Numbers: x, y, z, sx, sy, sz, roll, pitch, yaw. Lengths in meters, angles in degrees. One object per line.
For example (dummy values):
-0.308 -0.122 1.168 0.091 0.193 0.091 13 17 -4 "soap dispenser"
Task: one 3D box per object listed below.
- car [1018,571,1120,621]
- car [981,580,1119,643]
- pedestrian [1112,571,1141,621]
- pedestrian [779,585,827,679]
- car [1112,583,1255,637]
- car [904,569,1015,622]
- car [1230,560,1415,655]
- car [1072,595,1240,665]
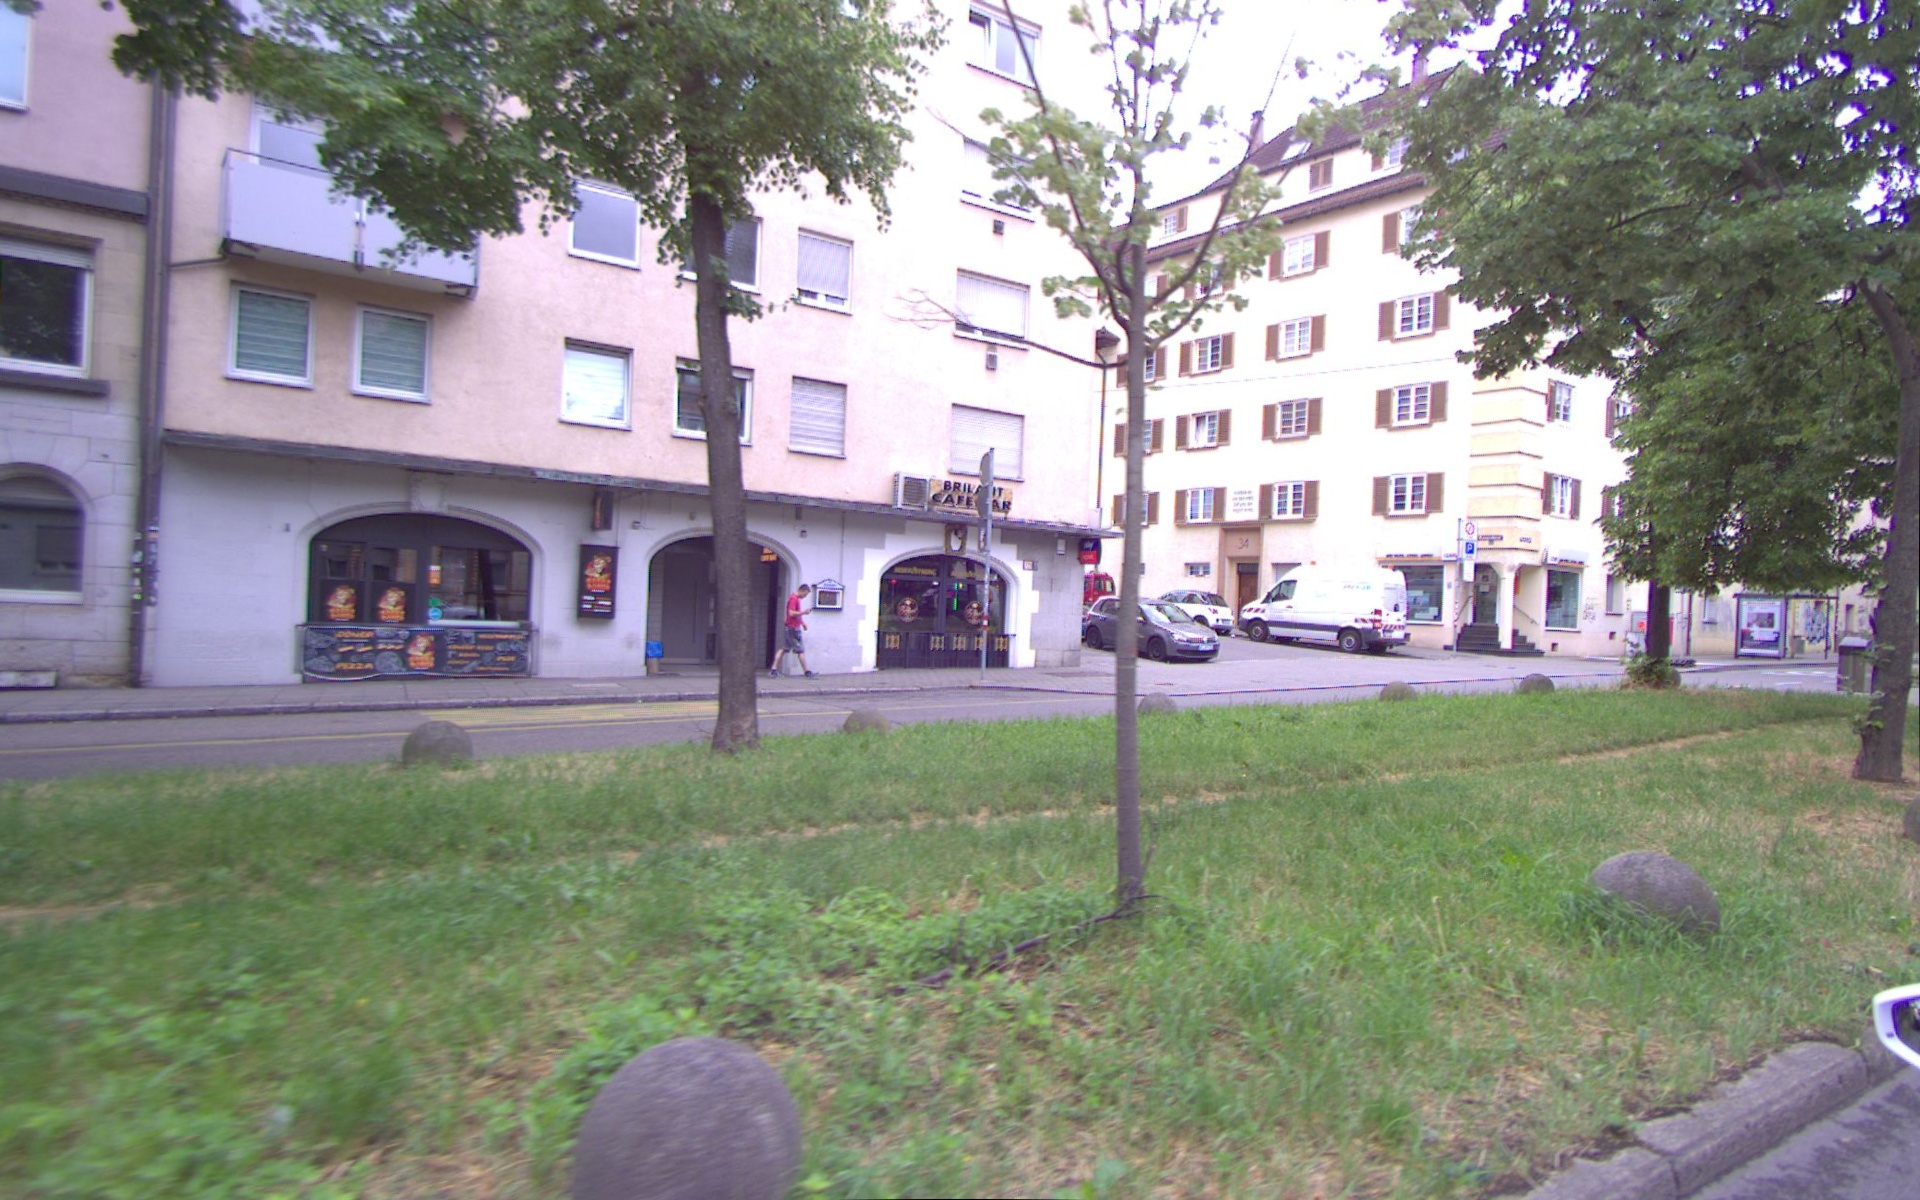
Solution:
4.379 -0.196 40.705 1.793 1.848 3.953 1 1 -40 "car"
2.646 0.306 30.330 1.980 1.439 3.959 1 5 -35 "car"
6.930 -0.166 41.847 0.809 2.041 0.807 1 1 -32 "pedestrian"
-2.873 0.577 18.327 0.693 1.688 0.529 1 0 -30 "pedestrian"
8.060 0.314 36.546 1.986 1.658 4.710 1 2 -44 "car"
-0.084 -0.181 34.765 1.883 1.439 4.005 1 4 -33 "car"
11.564 0.172 32.371 2.162 2.773 5.123 1 2 -43 "car"
5.025 0.715 26.330 2.023 1.439 4.267 1 3 -30 "car"
